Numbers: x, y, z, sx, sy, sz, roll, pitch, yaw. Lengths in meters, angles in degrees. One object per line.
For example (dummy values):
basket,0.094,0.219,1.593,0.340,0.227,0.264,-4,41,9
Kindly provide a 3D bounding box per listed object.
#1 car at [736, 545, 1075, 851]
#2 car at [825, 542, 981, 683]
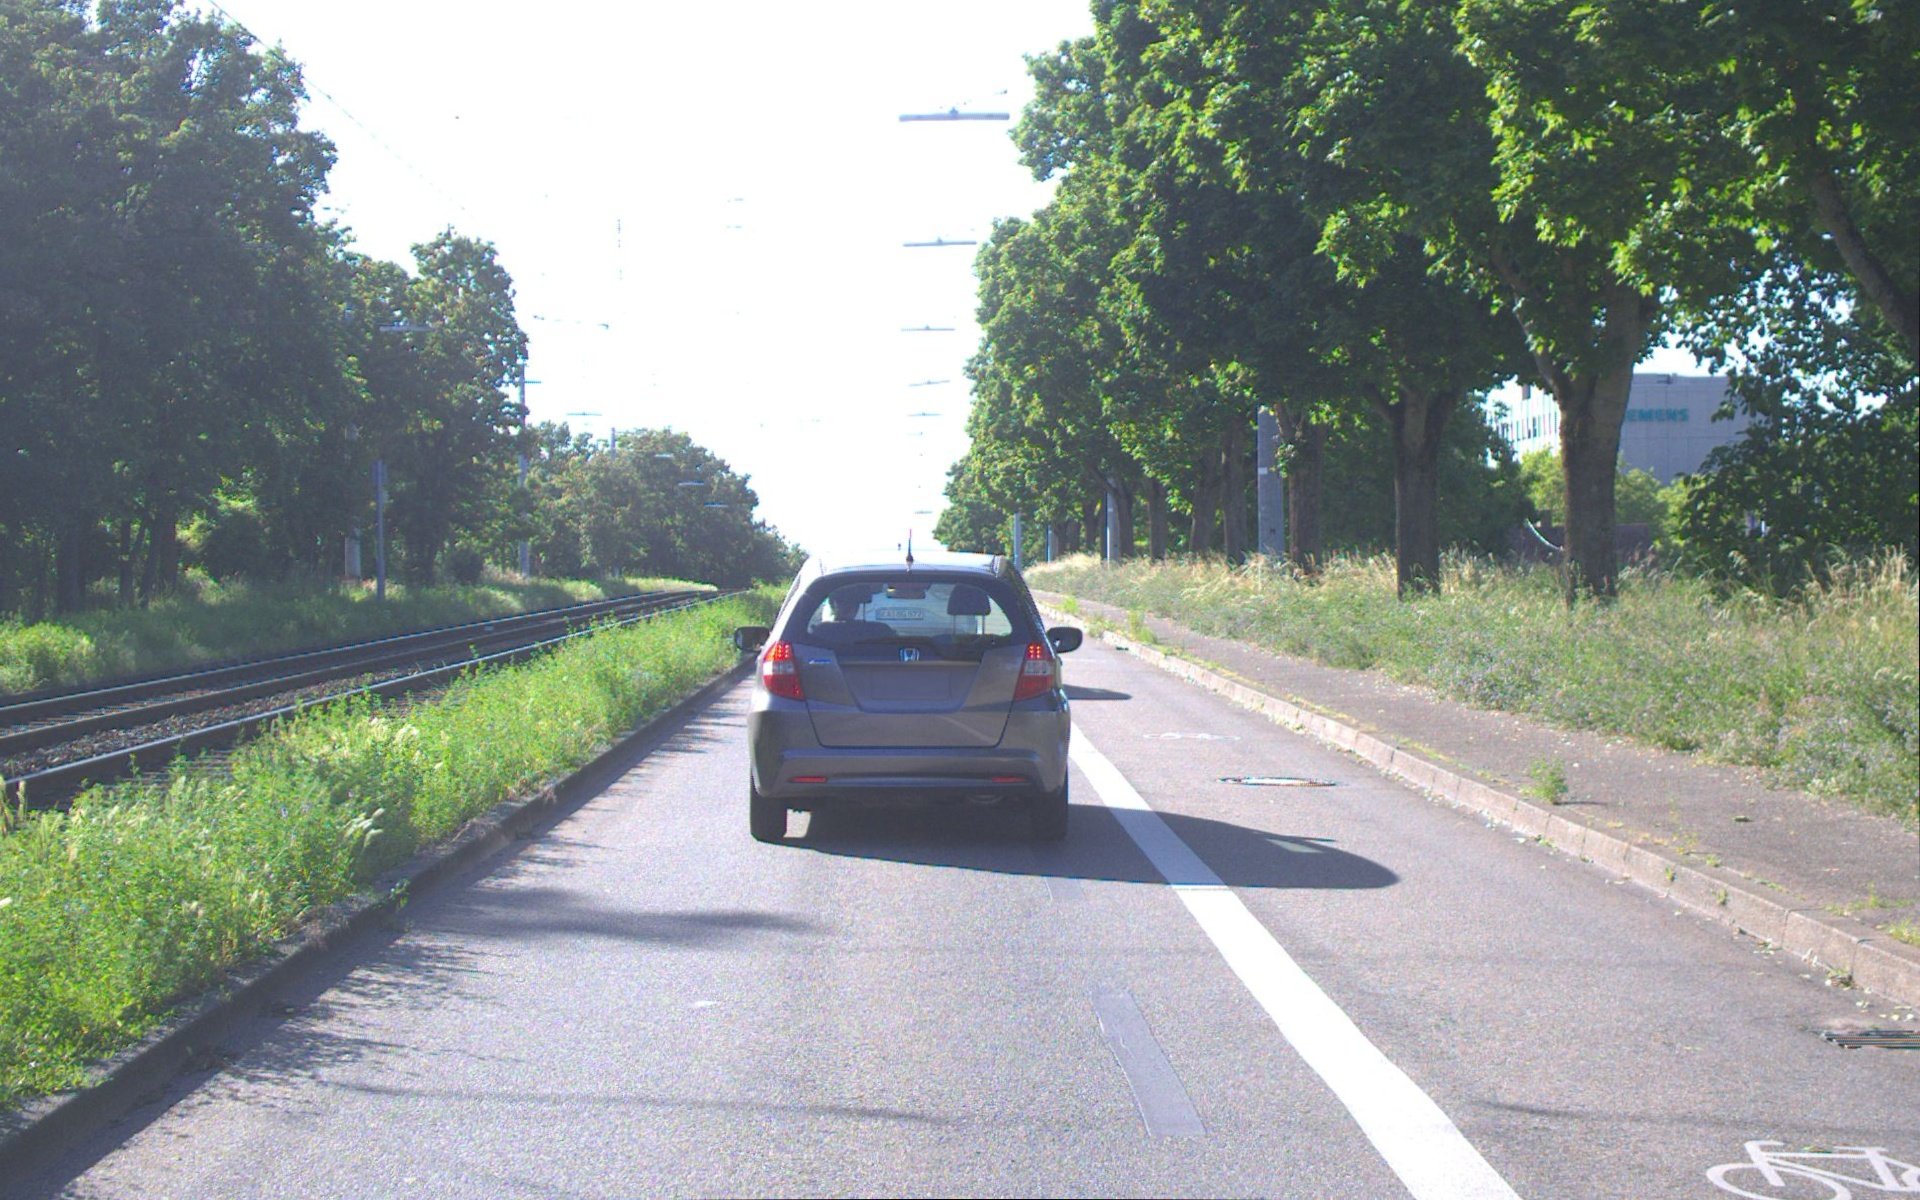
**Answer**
car,-0.274,0.470,19.033,1.670,1.502,3.811,1,1,0
car,-0.617,0.115,38.926,1.654,1.502,3.811,1,1,0
